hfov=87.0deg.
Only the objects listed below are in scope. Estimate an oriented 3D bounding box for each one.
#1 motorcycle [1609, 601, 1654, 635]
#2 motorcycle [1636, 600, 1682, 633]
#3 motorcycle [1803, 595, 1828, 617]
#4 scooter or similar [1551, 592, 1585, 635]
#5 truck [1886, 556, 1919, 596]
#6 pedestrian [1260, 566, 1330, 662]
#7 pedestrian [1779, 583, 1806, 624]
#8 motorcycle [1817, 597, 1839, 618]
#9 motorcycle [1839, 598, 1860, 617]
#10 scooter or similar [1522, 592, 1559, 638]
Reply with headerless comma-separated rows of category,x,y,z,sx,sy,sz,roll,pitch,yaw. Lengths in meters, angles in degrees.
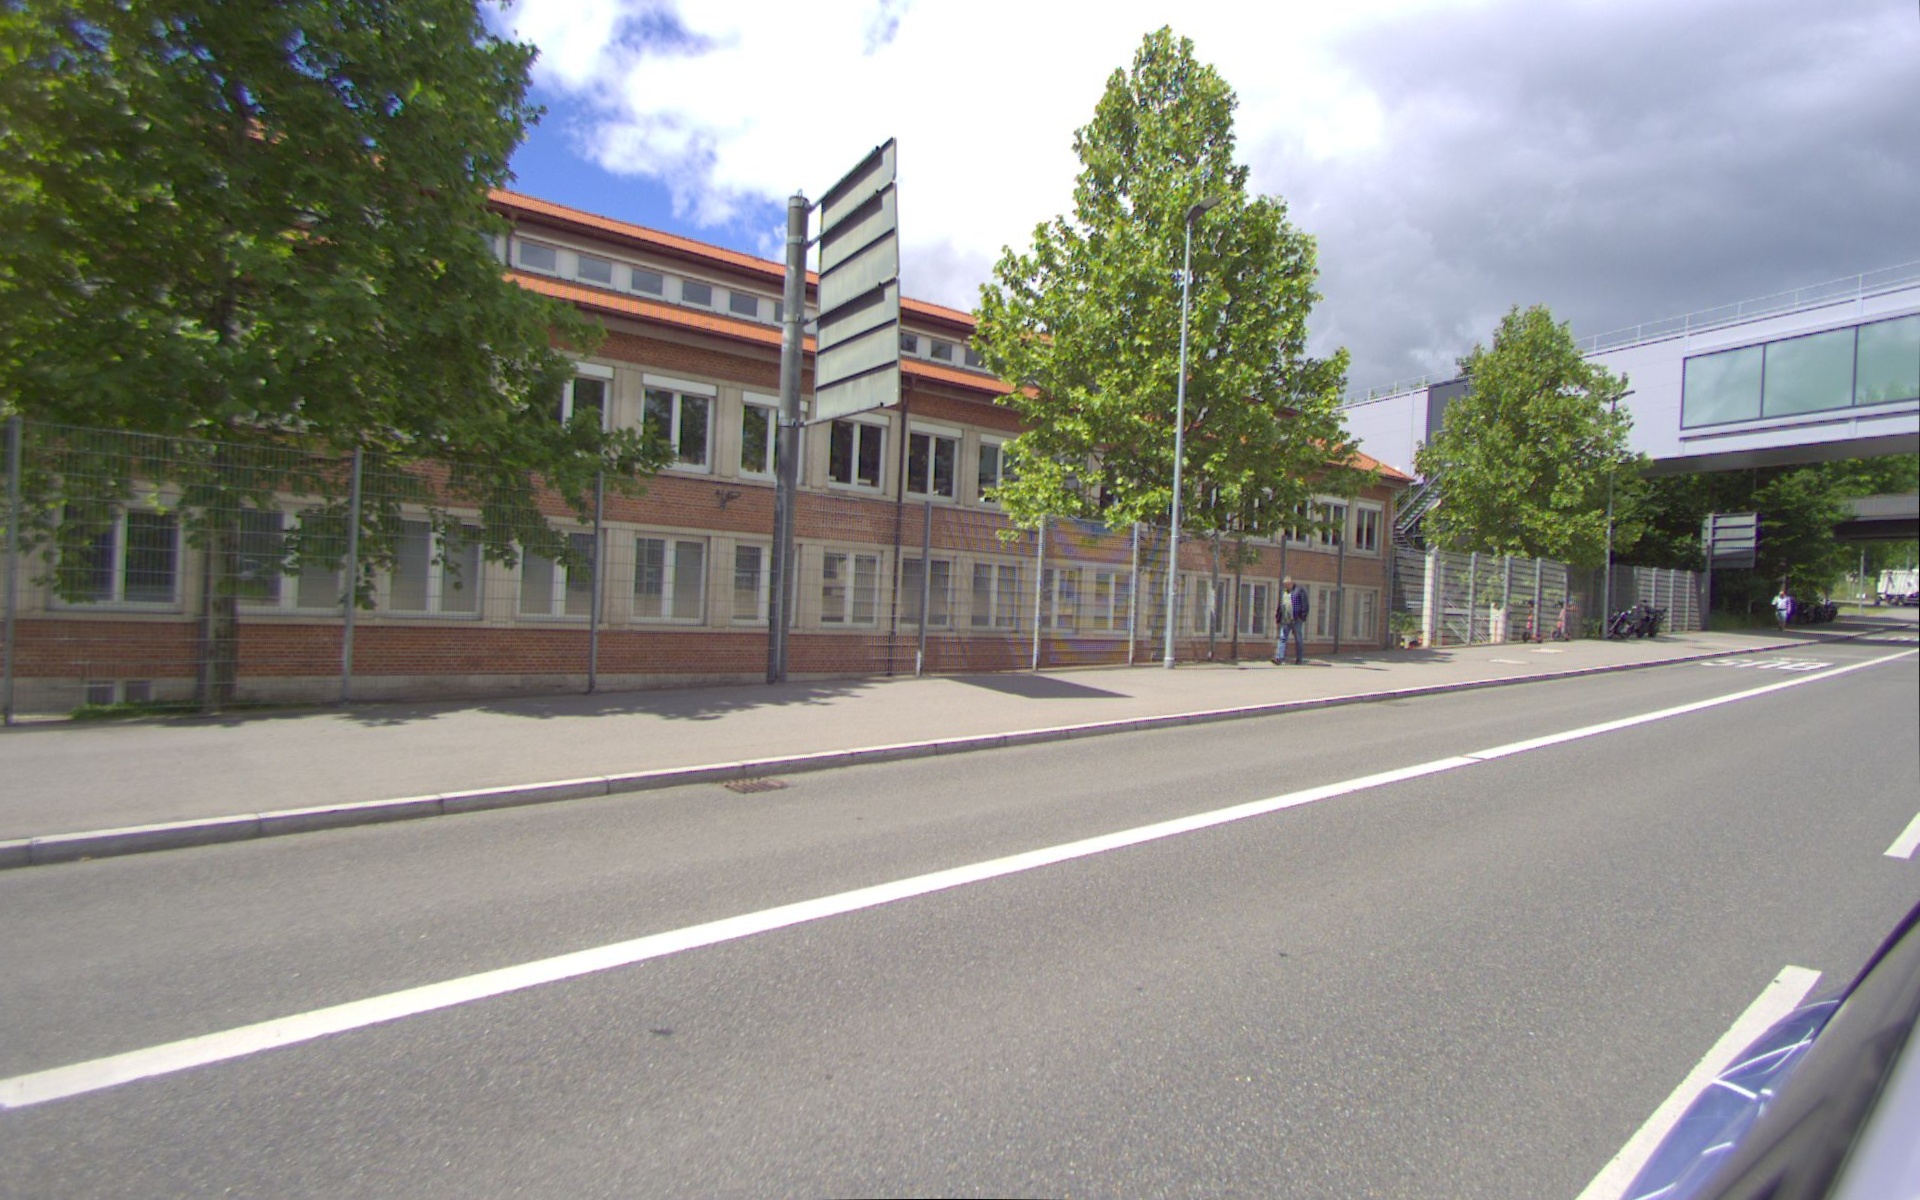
motorcycle,22.940,0.586,34.562,2.208,1.077,0.670,0,4,-41
motorcycle,25.142,0.569,36.386,2.466,1.077,0.709,0,4,-41
motorcycle,47.304,0.333,55.975,2.075,1.169,0.679,0,2,-40
scooter or similar,19.076,0.419,31.752,1.313,1.310,0.492,0,2,-41
truck,99.295,-2.404,102.774,2.744,4.055,10.058,1,0,10
pedestrian,6.510,0.253,19.680,0.924,1.764,0.879,0,3,-41
pedestrian,39.202,0.157,47.643,1.078,1.911,0.791,0,2,-41
motorcycle,49.165,0.419,57.319,2.123,1.157,0.679,0,2,-42
motorcycle,53.000,0.442,60.305,2.143,1.096,0.679,0,2,-42
scooter or similar,17.347,0.440,30.234,1.313,1.310,0.492,0,2,-41
